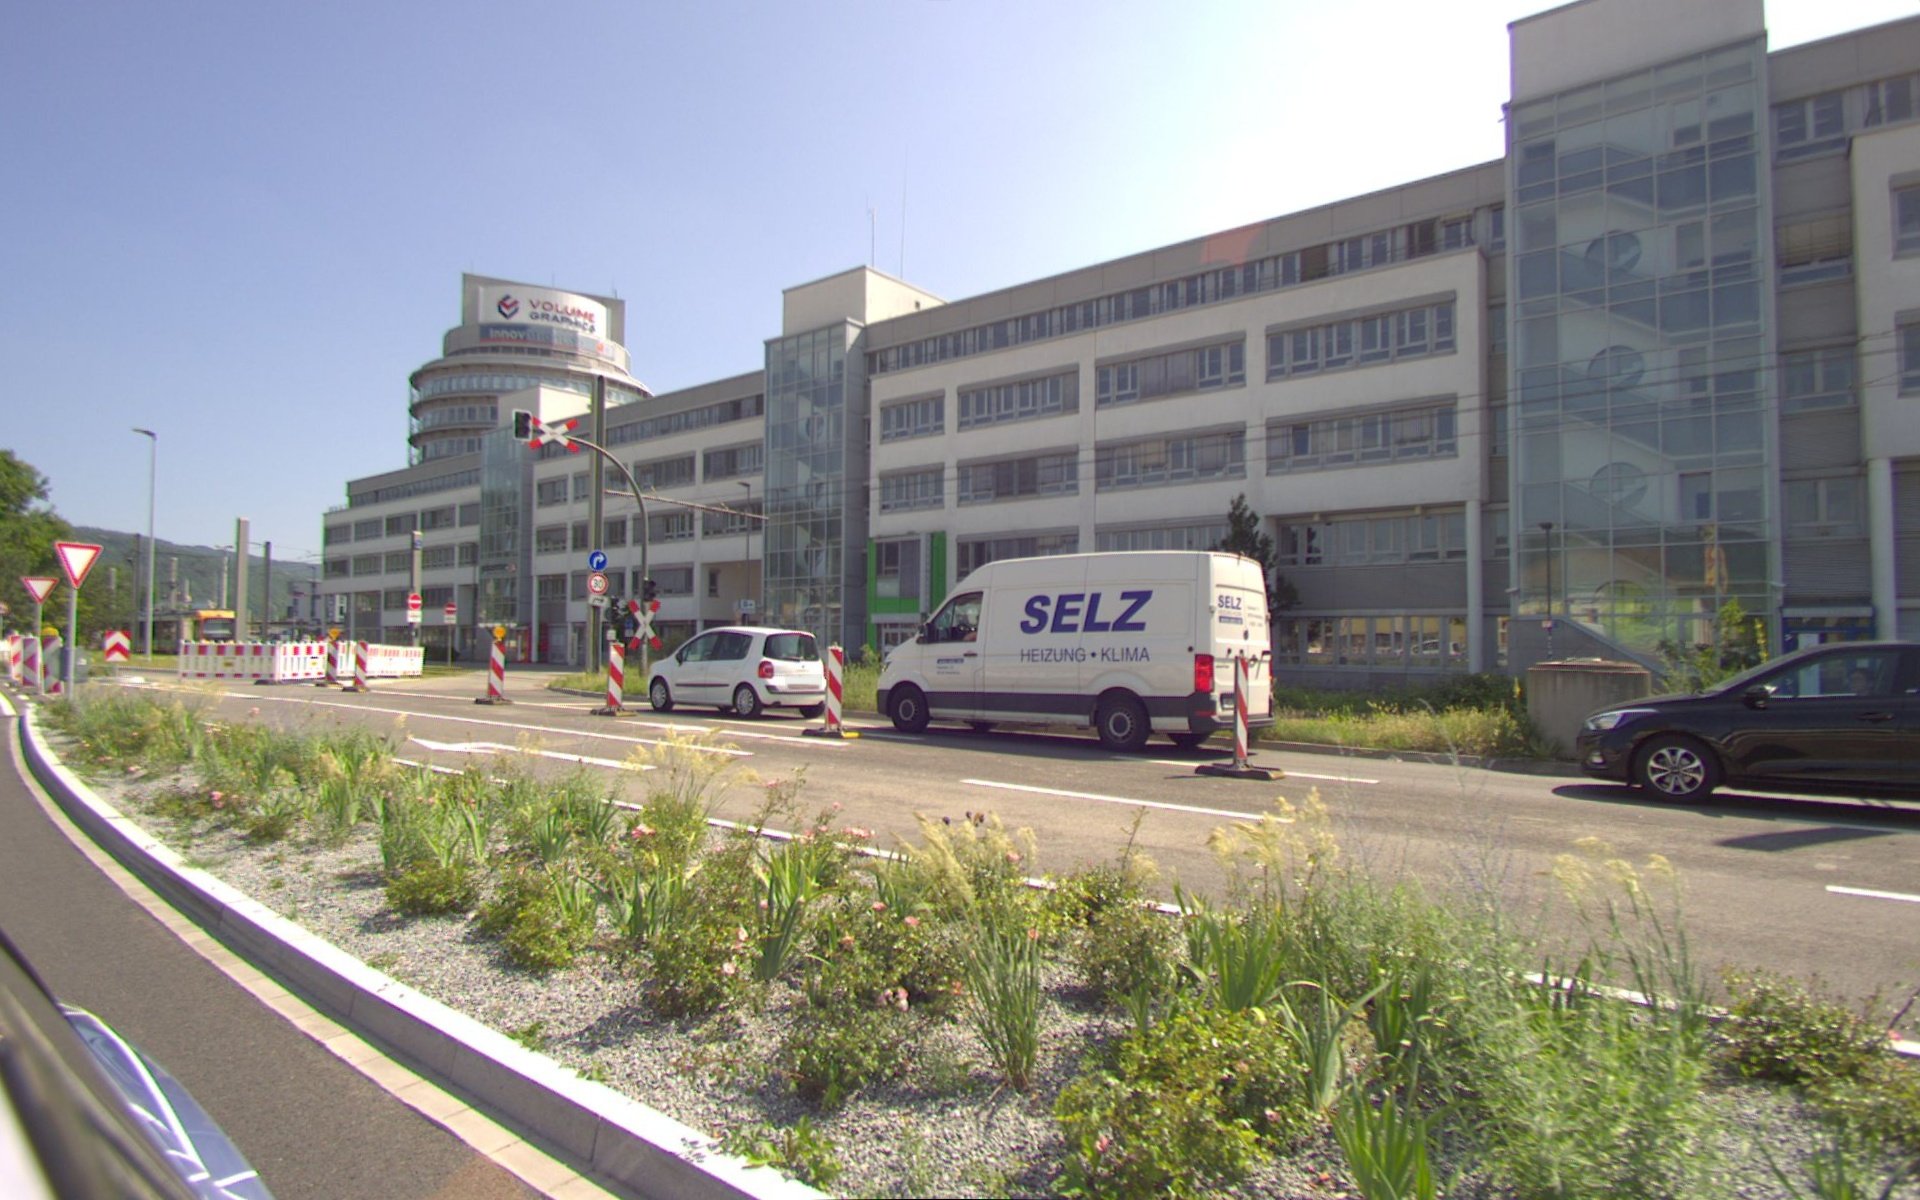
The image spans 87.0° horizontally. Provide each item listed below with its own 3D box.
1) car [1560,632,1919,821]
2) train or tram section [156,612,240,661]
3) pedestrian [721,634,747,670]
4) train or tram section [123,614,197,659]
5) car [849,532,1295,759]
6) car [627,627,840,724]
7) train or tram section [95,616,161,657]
[{"bbox_3d":[7.690,1.045,8.687,4.188,1.468,1.530,-2,-5,39],"label":"car"},{"bbox_3d":[-57.514,2.725,76.237,11.773,3.477,2.598,-2,-2,41],"label":"train or tram section"},{"bbox_3d":[-11.933,2.740,53.398,1.107,1.840,0.758,-3,-2,38],"label":"pedestrian"},{"bbox_3d":[-66.452,2.987,83.896,11.773,3.477,2.598,-2,-2,41],"label":"train or tram section"},{"bbox_3d":[1.336,0.664,14.317,6.189,2.598,2.010,-2,-6,40],"label":"car"},{"bbox_3d":[-4.138,1.324,18.225,3.973,1.553,1.565,-2,-6,39],"label":"car"},{"bbox_3d":[-75.377,3.243,91.526,11.773,3.477,2.598,-2,-2,41],"label":"train or tram section"}]
